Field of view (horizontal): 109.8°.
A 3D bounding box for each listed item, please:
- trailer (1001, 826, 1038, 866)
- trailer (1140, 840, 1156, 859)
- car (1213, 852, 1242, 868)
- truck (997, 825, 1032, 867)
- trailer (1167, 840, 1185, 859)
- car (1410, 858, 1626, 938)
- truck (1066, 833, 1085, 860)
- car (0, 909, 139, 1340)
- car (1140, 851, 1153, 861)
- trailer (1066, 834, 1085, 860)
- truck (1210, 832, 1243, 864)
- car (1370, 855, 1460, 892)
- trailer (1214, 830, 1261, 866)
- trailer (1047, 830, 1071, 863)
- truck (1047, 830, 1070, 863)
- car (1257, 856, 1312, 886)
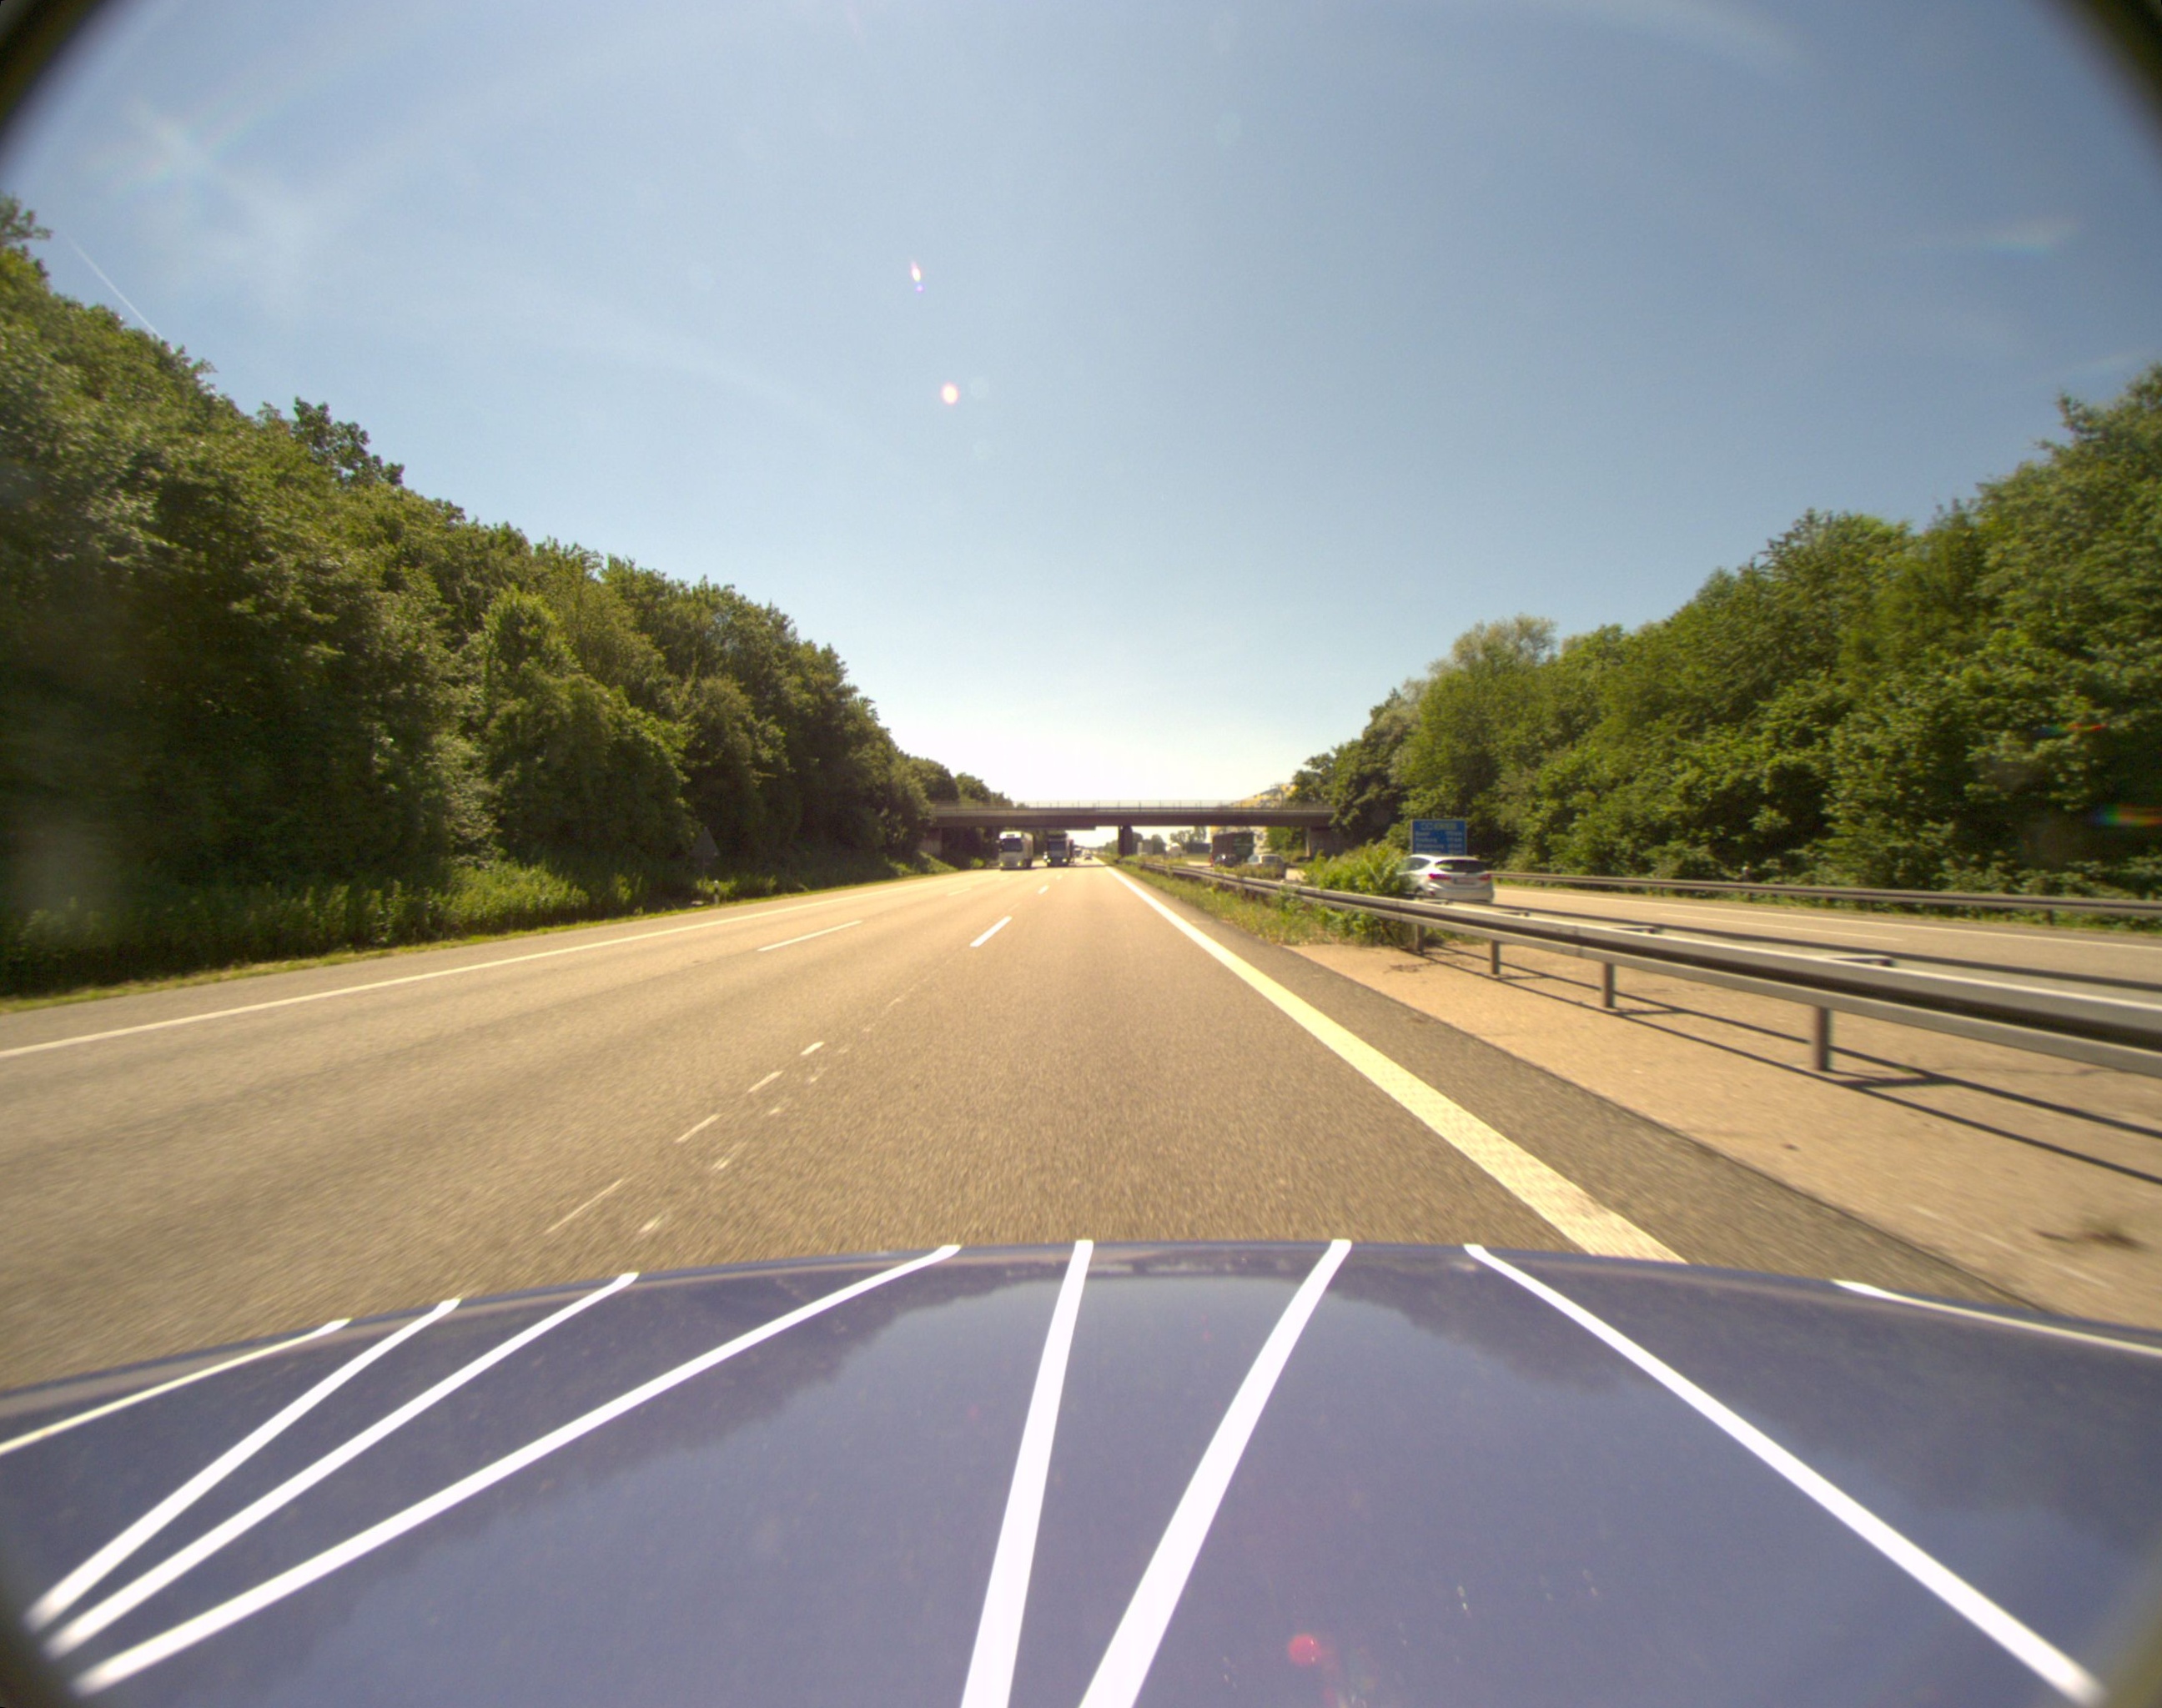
[{"bbox_3d":[-6.945,-0.828,88.340,3.047,4.200,13.834,-2,0,0],"label":"trailer"},{"bbox_3d":[15.863,-1.059,181.042,2.836,4.200,13.835,1,0,1],"label":"trailer"},{"bbox_3d":[14.449,0.557,75.132,1.853,1.442,4.871,0,0,0],"label":"car"},{"bbox_3d":[-6.949,-0.796,80.014,3.055,4.190,6.048,-2,0,0],"label":"truck"},{"bbox_3d":[20.171,-0.971,162.037,2.364,3.772,12.074,1,0,1],"label":"trailer"},{"bbox_3d":[9.174,0.824,16.549,1.853,1.442,4.871,0,0,0],"label":"car"},{"bbox_3d":[-0.874,-1.122,119.788,2.870,4.046,5.770,-2,0,-1],"label":"truck"},{"bbox_3d":[-4.851,1.019,0.736,1.904,1.523,4.759,-2,0,0],"label":"car"},{"bbox_3d":[10.751,0.294,124.565,1.672,1.503,4.518,0,0,-1],"label":"car"},{"bbox_3d":[-1.031,-1.130,126.759,2.886,4.046,13.833,-2,0,-1],"label":"trailer"},{"bbox_3d":[19.060,-0.805,99.928,3.225,4.035,5.617,0,1,0],"label":"truck"},{"bbox_3d":[13.838,0.761,31.821,1.672,1.394,4.706,0,0,0],"label":"car"},{"bbox_3d":[19.016,-0.743,93.336,3.225,4.035,12.740,0,0,0],"label":"trailer"},{"bbox_3d":[-2.857,-0.998,102.820,2.684,4.046,13.834,-2,0,0],"label":"trailer"},{"bbox_3d":[-2.824,-0.930,95.977,2.684,4.046,6.048,-2,0,0],"label":"truck"},{"bbox_3d":[9.810,0.788,36.879,1.672,1.394,3.773,0,0,0],"label":"car"}]
